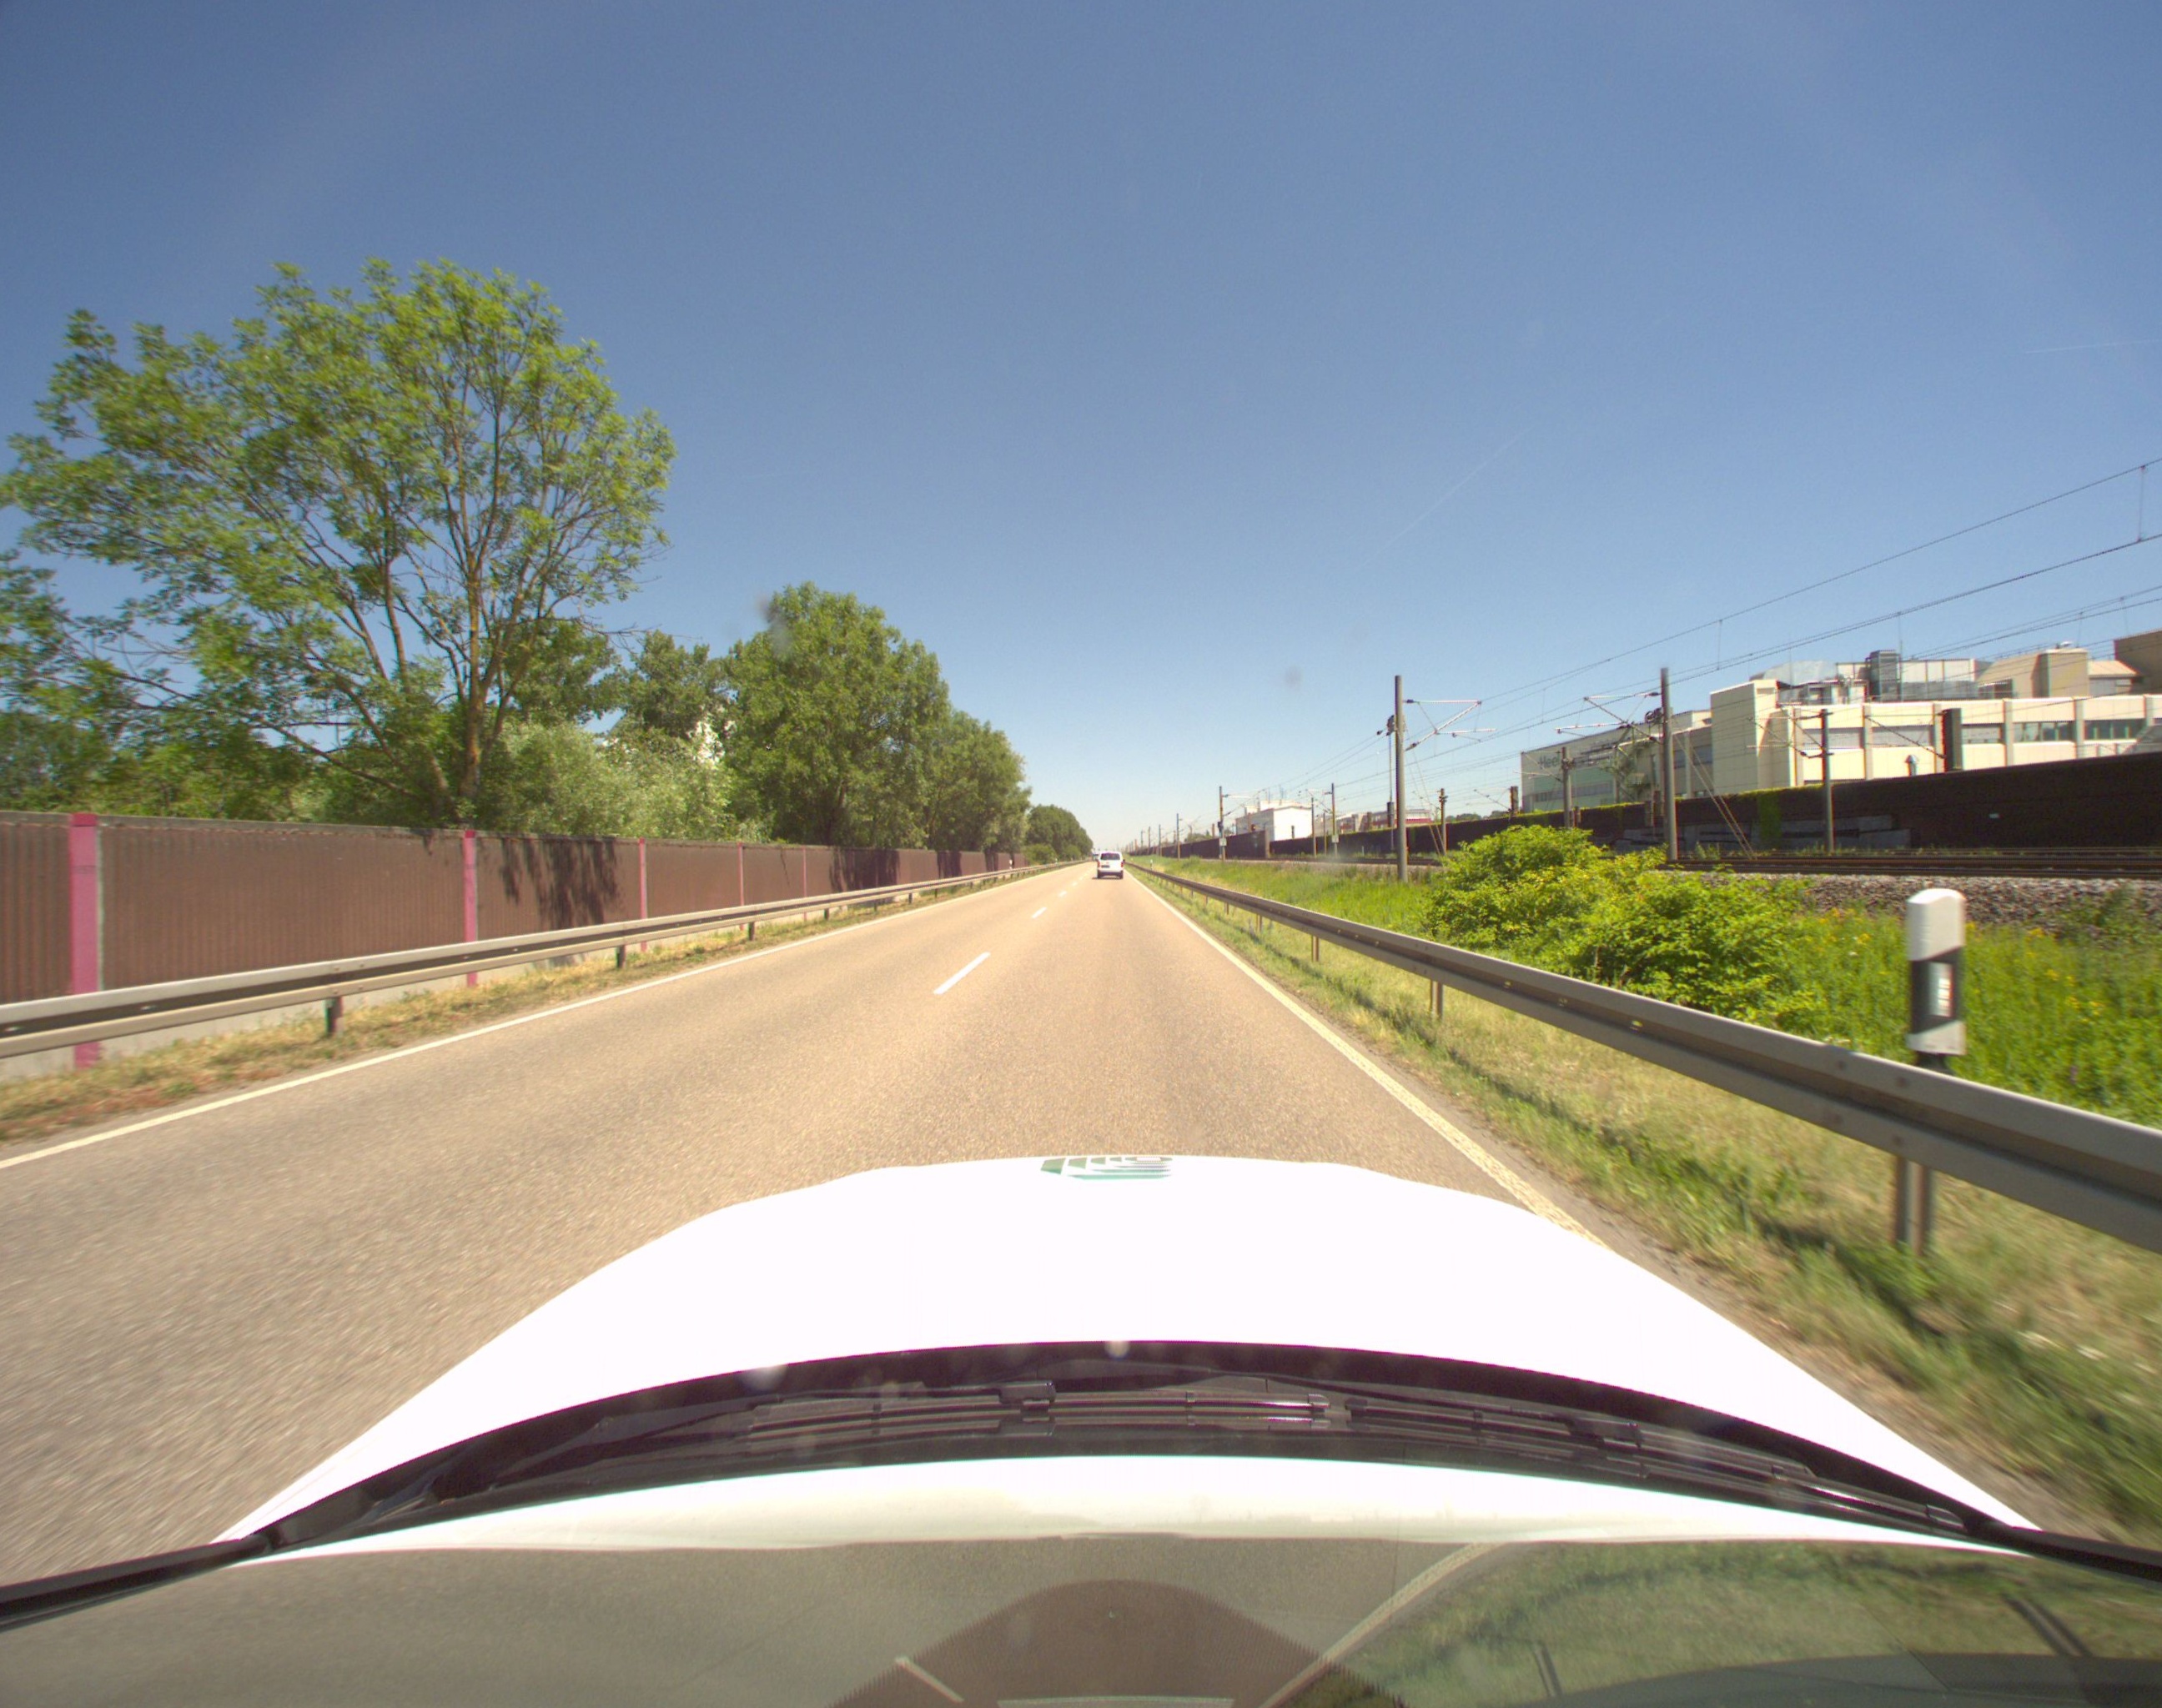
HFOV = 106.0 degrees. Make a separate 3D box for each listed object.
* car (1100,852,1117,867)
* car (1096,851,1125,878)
[{"bbox_3d":[3.419,0.657,100.446,1.986,1.850,4.002,1,0,2],"label":"car"},{"bbox_3d":[2.140,0.757,58.532,1.986,1.850,4.002,1,0,2],"label":"car"}]
